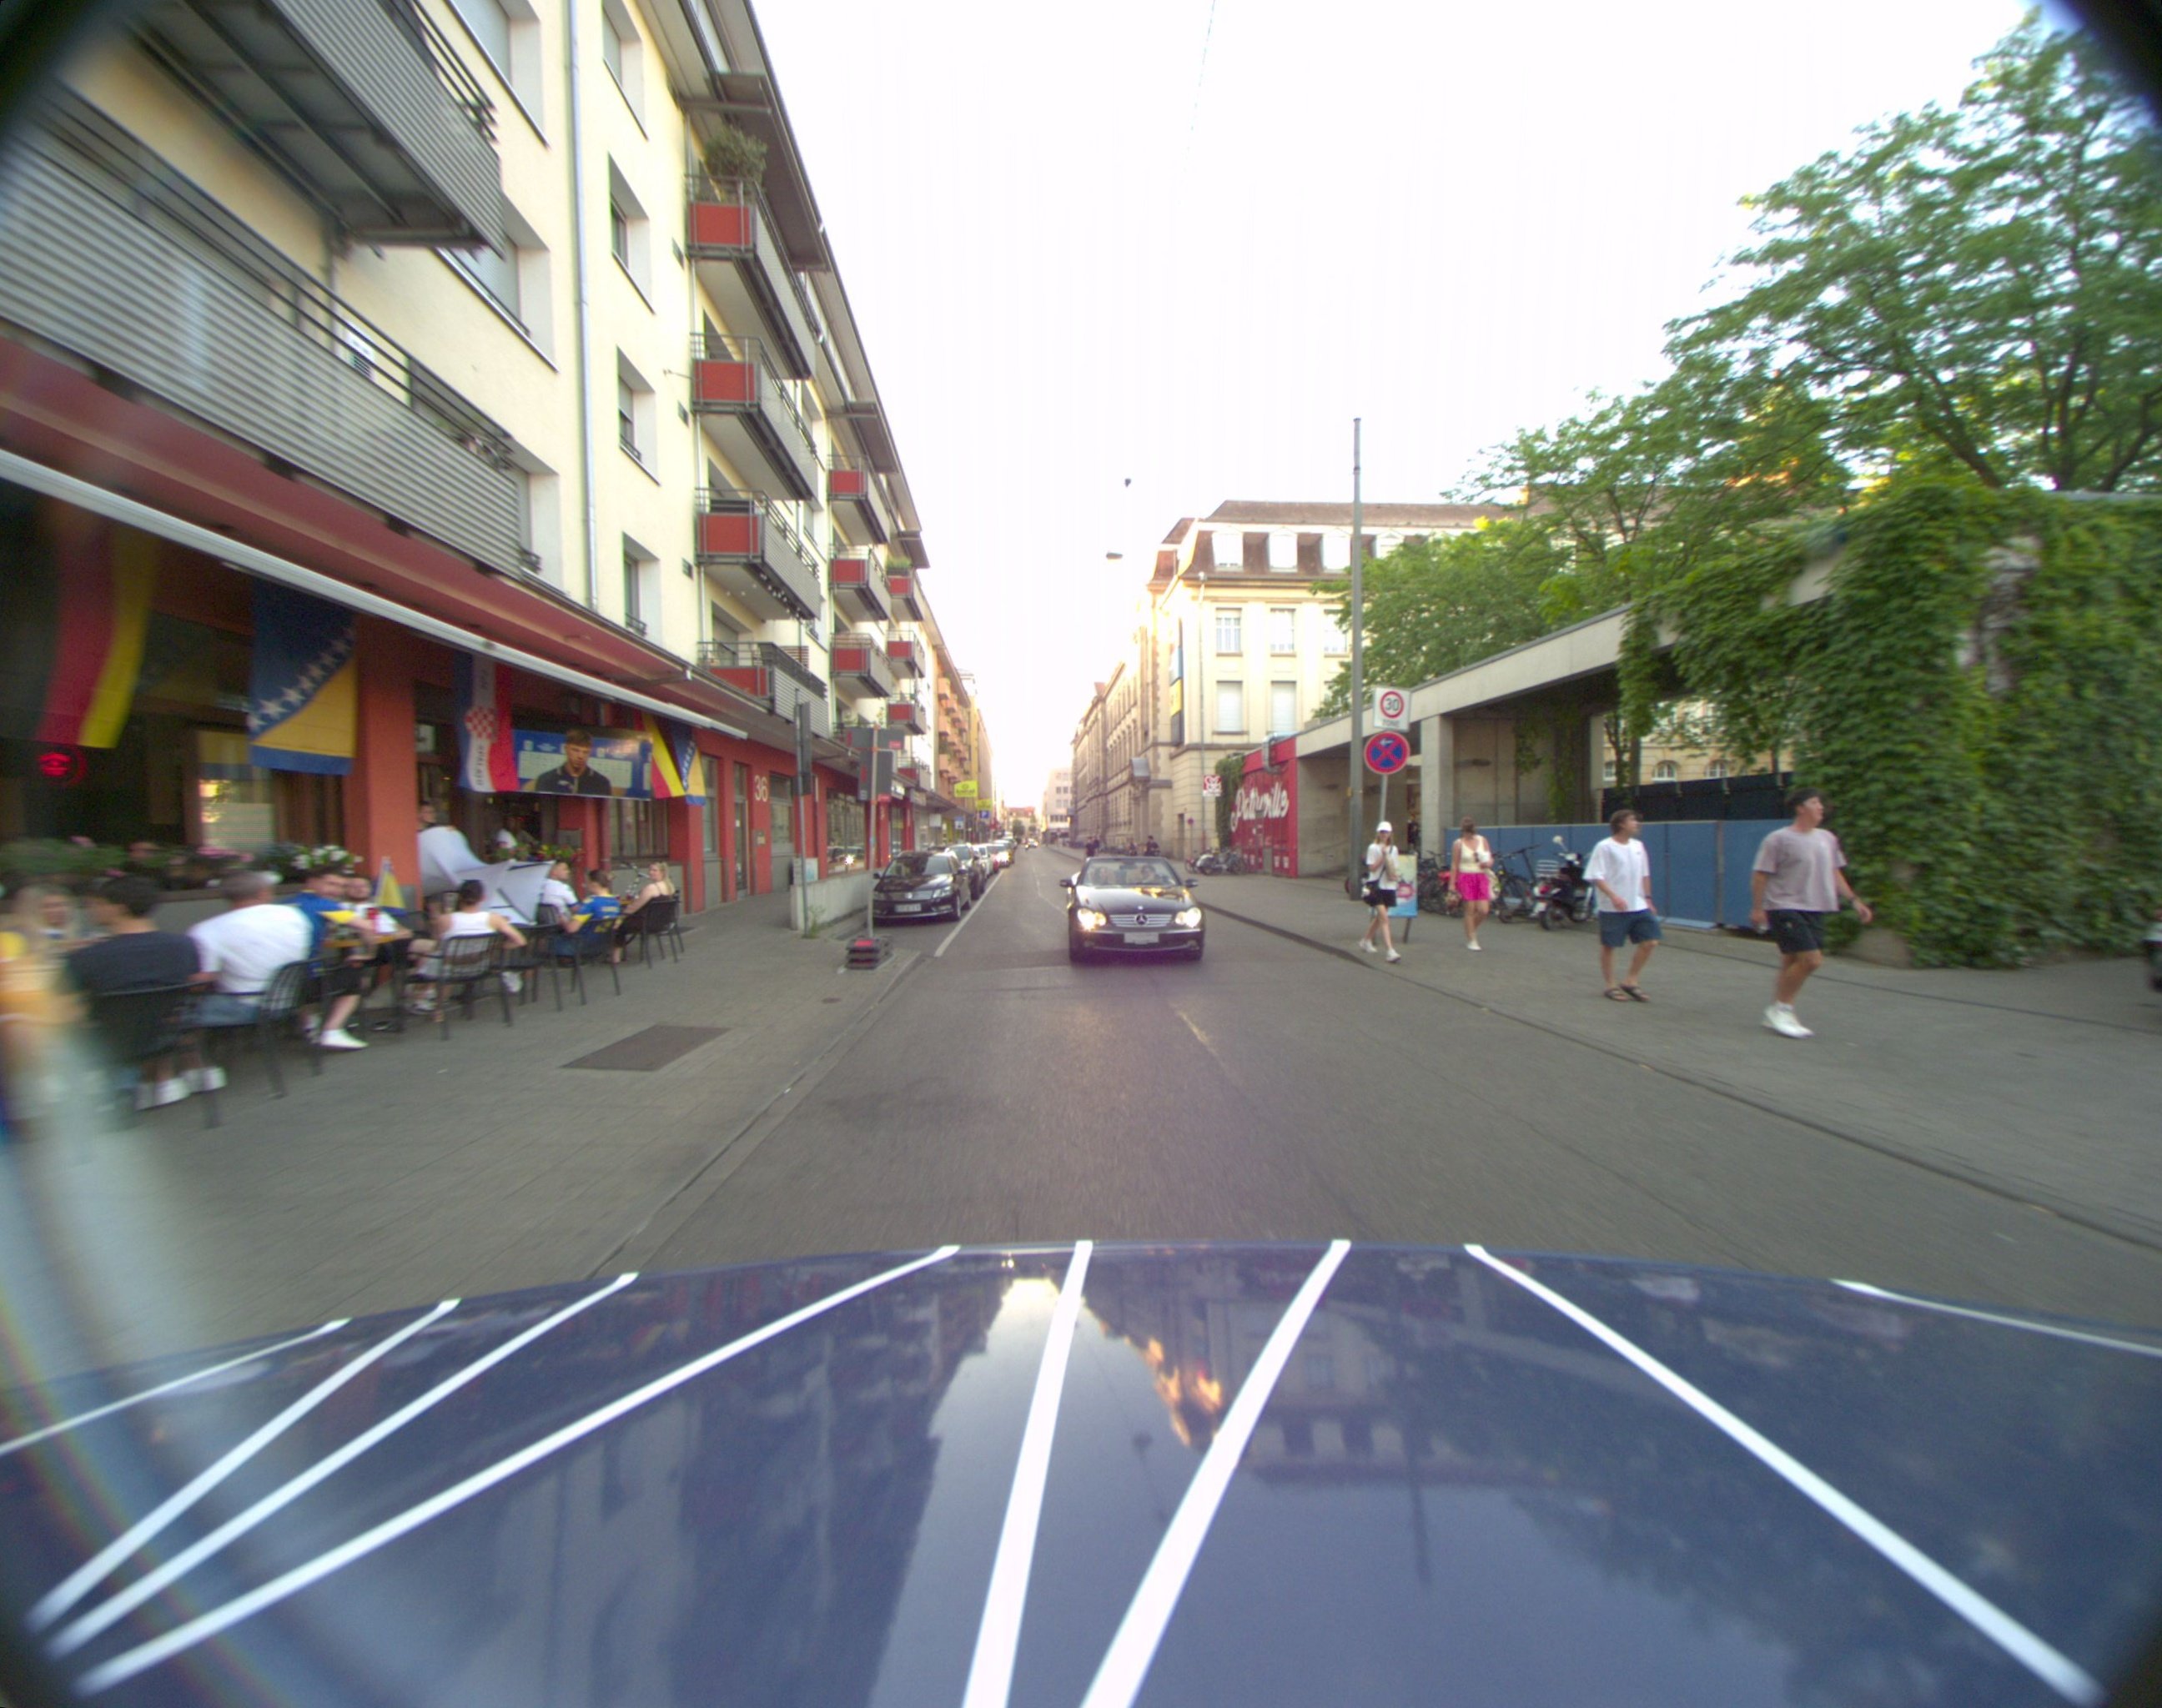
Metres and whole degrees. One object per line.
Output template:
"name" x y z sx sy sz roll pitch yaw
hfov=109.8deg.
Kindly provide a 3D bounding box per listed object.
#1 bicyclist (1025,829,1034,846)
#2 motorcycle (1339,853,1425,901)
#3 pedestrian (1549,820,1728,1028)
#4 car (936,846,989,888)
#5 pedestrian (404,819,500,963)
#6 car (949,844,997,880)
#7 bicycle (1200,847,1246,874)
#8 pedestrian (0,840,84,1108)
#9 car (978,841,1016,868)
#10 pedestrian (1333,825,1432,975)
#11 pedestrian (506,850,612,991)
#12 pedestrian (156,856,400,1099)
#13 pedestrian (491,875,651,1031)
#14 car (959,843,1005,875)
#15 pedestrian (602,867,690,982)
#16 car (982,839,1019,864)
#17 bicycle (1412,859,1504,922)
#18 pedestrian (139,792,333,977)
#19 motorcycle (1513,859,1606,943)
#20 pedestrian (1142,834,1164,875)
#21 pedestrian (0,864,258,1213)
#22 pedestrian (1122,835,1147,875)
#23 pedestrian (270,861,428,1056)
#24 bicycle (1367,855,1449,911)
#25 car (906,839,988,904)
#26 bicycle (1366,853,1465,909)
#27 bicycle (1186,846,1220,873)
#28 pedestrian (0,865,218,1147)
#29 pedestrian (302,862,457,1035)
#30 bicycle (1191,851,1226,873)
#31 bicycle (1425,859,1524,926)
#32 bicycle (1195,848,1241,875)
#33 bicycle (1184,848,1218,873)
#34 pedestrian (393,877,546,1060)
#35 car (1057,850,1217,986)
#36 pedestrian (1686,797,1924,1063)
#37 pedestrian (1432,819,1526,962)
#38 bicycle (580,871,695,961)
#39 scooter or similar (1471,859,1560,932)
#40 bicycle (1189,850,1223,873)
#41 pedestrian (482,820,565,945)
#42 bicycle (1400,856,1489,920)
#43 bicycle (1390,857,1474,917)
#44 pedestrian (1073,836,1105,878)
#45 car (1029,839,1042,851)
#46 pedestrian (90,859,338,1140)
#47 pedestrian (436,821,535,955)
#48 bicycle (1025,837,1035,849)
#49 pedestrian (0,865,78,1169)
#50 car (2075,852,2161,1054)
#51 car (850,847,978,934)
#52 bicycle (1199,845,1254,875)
"bicyclist" -6.532 -2.091 95.626 1.045 2.002 1.182 -1 2 -2
"motorcycle" 7.038 0.548 17.780 1.824 1.063 0.534 -2 2 25
"pedestrian" 5.144 0.603 7.078 0.984 1.784 0.889 -2 2 -2
"car" -4.489 0.454 29.304 1.753 1.395 3.964 -2 1 -6
"pedestrian" -7.839 0.446 9.500 0.612 1.729 0.617 -2 2 -5
"car" -4.859 0.308 34.673 1.768 1.468 3.945 -2 1 -3
"bicycle" 5.922 0.263 31.783 1.844 1.077 0.354 -2 2 2
"pedestrian" -7.434 0.794 5.146 0.538 1.767 0.521 -2 2 -7
"car" -5.121 -0.009 46.775 1.898 1.468 4.299 -2 1 -2
"pedestrian" 3.810 0.551 9.669 0.851 1.784 0.868 -2 2 -2
"pedestrian" -6.079 0.736 8.907 0.854 1.527 0.713 -3 2 -26
"pedestrian" -5.518 0.803 5.286 0.853 1.527 0.679 -2 2 -7
"pedestrian" -4.748 0.875 7.121 0.876 1.298 0.854 1 2 16
"car" -5.007 0.195 39.099 1.867 1.468 4.392 -2 1 -2
"pedestrian" -5.291 0.822 9.294 0.854 1.271 0.712 -1 4 -26
"car" -5.488 -0.224 52.483 1.998 1.607 4.366 -2 1 1
"bicycle" 6.896 0.661 13.907 1.497 1.063 0.442 -2 2 -7
"pedestrian" -9.915 0.325 8.953 1.150 2.002 1.152 -1 2 25
"motorcycle" 7.418 0.687 11.746 1.832 1.120 0.535 -3 2 -35
"pedestrian" 3.093 0.013 32.593 0.833 1.717 0.920 -1 2 0
"pedestrian" -4.856 0.842 3.765 0.714 1.527 0.759 2 1 -8
"pedestrian" 2.344 0.056 33.376 0.921 1.717 0.702 -2 2 -9
"pedestrian" -5.679 0.781 5.930 0.667 1.426 0.560 1 1 -7
"bicycle" 6.771 0.596 15.765 1.496 1.082 0.436 -2 2 3
"car" -3.897 0.439 22.772 1.884 1.690 4.135 -2 1 -3
"bicycle" 7.167 0.570 16.307 1.872 1.081 0.550 -2 2 -2
"bicycle" 5.594 0.253 34.772 1.501 1.134 0.312 -3 2 -12
"pedestrian" -5.959 0.834 4.482 0.770 1.495 0.782 -1 2 -6
"pedestrian" -6.164 0.804 6.718 0.714 1.413 0.602 -2 2 -5
"bicycle" 5.721 0.359 34.152 1.501 0.950 0.312 -3 2 -12
"bicycle" 6.957 0.658 13.445 1.497 1.082 0.547 -2 2 -7
"bicycle" 5.821 0.312 32.232 1.844 1.077 0.354 -2 2 2
"bicycle" 5.555 0.293 35.116 1.501 1.070 0.312 -3 2 -12
"pedestrian" -4.854 0.872 6.082 0.655 1.337 0.749 1 1 -7
"car" 0.562 0.712 10.891 1.809 1.400 4.614 0 2 -2
"pedestrian" 5.555 0.540 5.895 0.984 1.873 0.889 -2 2 -2
"pedestrian" 5.205 0.457 9.972 0.812 1.784 0.736 -2 2 -2
"bicycle" -6.335 0.840 10.982 0.550 1.081 2.004 -2 1 -4
"scooter or similar" 7.180 0.665 12.531 1.499 1.082 0.410 -3 2 -21
"bicycle" 5.677 0.346 34.460 1.501 0.973 0.312 -3 2 -12
"pedestrian" -9.267 0.455 12.661 0.669 2.002 0.814 -1 2 6
"bicycle" 6.835 0.632 14.300 1.497 1.105 0.410 -2 2 -7
"bicycle" 6.891 0.635 14.931 1.497 1.082 0.410 -2 2 -7
"pedestrian" 0.343 0.119 33.523 1.009 1.817 0.944 -3 2 -28
"car" -8.308 -1.708 139.407 1.998 2.002 3.999 -1 2 0
"pedestrian" -5.094 0.809 4.517 0.651 1.518 0.699 2 1 -8
"pedestrian" -7.927 0.437 10.142 0.718 1.711 0.668 -2 2 -5
"bicycle" -6.432 -1.410 95.783 1.038 1.514 2.821 -1 2 0
"pedestrian" -5.798 0.828 3.795 0.675 1.527 0.654 1 1 -6
"car" 10.099 0.654 5.264 4.450 1.422 2.104 -2 1 -10
"car" -3.494 0.679 16.829 1.879 1.543 4.629 -2 1 -2
"bicycle" 6.010 0.239 31.420 2.180 1.149 0.445 -2 2 2
